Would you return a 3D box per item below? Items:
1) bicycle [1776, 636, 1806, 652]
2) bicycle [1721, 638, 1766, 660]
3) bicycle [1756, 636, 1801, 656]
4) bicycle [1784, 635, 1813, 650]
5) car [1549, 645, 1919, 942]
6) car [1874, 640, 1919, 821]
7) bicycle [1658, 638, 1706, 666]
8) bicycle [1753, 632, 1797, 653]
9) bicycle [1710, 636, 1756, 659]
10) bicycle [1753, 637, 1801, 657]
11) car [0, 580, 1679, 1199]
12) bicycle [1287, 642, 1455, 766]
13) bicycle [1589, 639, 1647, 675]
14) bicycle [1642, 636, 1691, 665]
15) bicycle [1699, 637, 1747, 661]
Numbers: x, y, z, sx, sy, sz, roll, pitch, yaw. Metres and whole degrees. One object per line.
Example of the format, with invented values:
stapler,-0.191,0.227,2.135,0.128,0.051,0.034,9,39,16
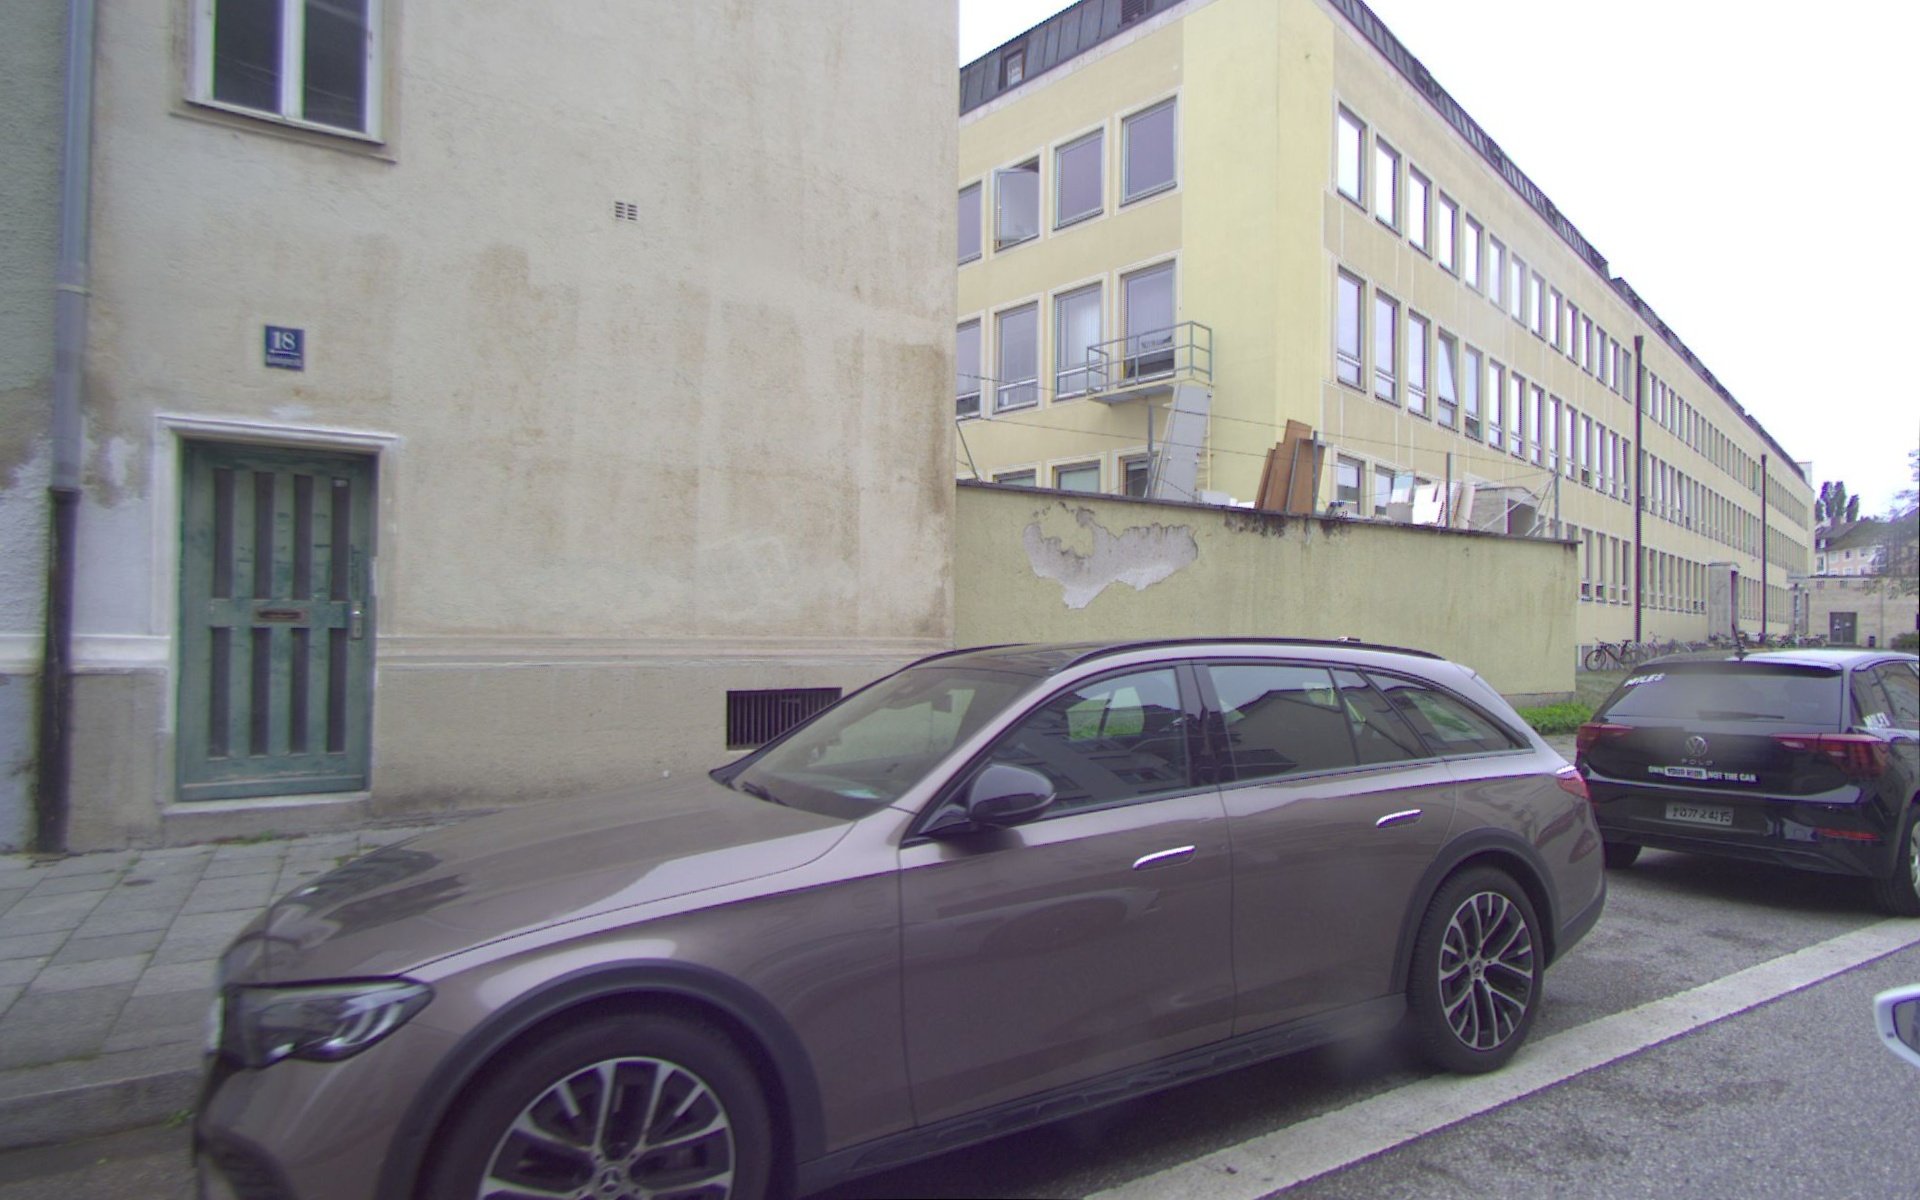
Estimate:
bicycle,51.036,2.698,61.678,1.391,0.957,0.412,1,0,43
bicycle,35.876,2.239,46.019,1.583,0.957,0.501,1,0,36
bicycle,43.814,2.450,53.760,1.836,0.957,0.412,1,0,41
bicycle,54.897,2.777,65.752,1.454,0.957,0.412,1,0,43
car,5.979,1.045,6.860,4.241,1.455,1.665,1,-3,-34
car,9.956,1.107,9.061,3.869,1.516,1.643,1,-3,-34
bicycle,26.931,1.937,37.473,0.411,0.957,1.393,1,0,-43
bicycle,45.505,2.373,56.096,1.825,1.110,0.698,1,0,43
bicycle,34.163,2.095,44.391,1.585,0.957,0.501,1,0,41
bicycle,43.340,2.485,53.302,0.411,0.957,1.933,1,0,-43
car,0.215,0.835,3.624,5.028,1.562,1.856,1,-3,-29
bicycle,4.562,1.110,11.122,1.847,1.249,0.798,2,-2,-31
bicycle,19.243,1.653,29.407,1.386,0.957,0.413,1,0,31
bicycle,25.771,1.834,36.656,0.410,0.957,1.398,1,0,-33
bicycle,32.522,2.085,42.845,1.585,0.957,0.501,1,0,41
